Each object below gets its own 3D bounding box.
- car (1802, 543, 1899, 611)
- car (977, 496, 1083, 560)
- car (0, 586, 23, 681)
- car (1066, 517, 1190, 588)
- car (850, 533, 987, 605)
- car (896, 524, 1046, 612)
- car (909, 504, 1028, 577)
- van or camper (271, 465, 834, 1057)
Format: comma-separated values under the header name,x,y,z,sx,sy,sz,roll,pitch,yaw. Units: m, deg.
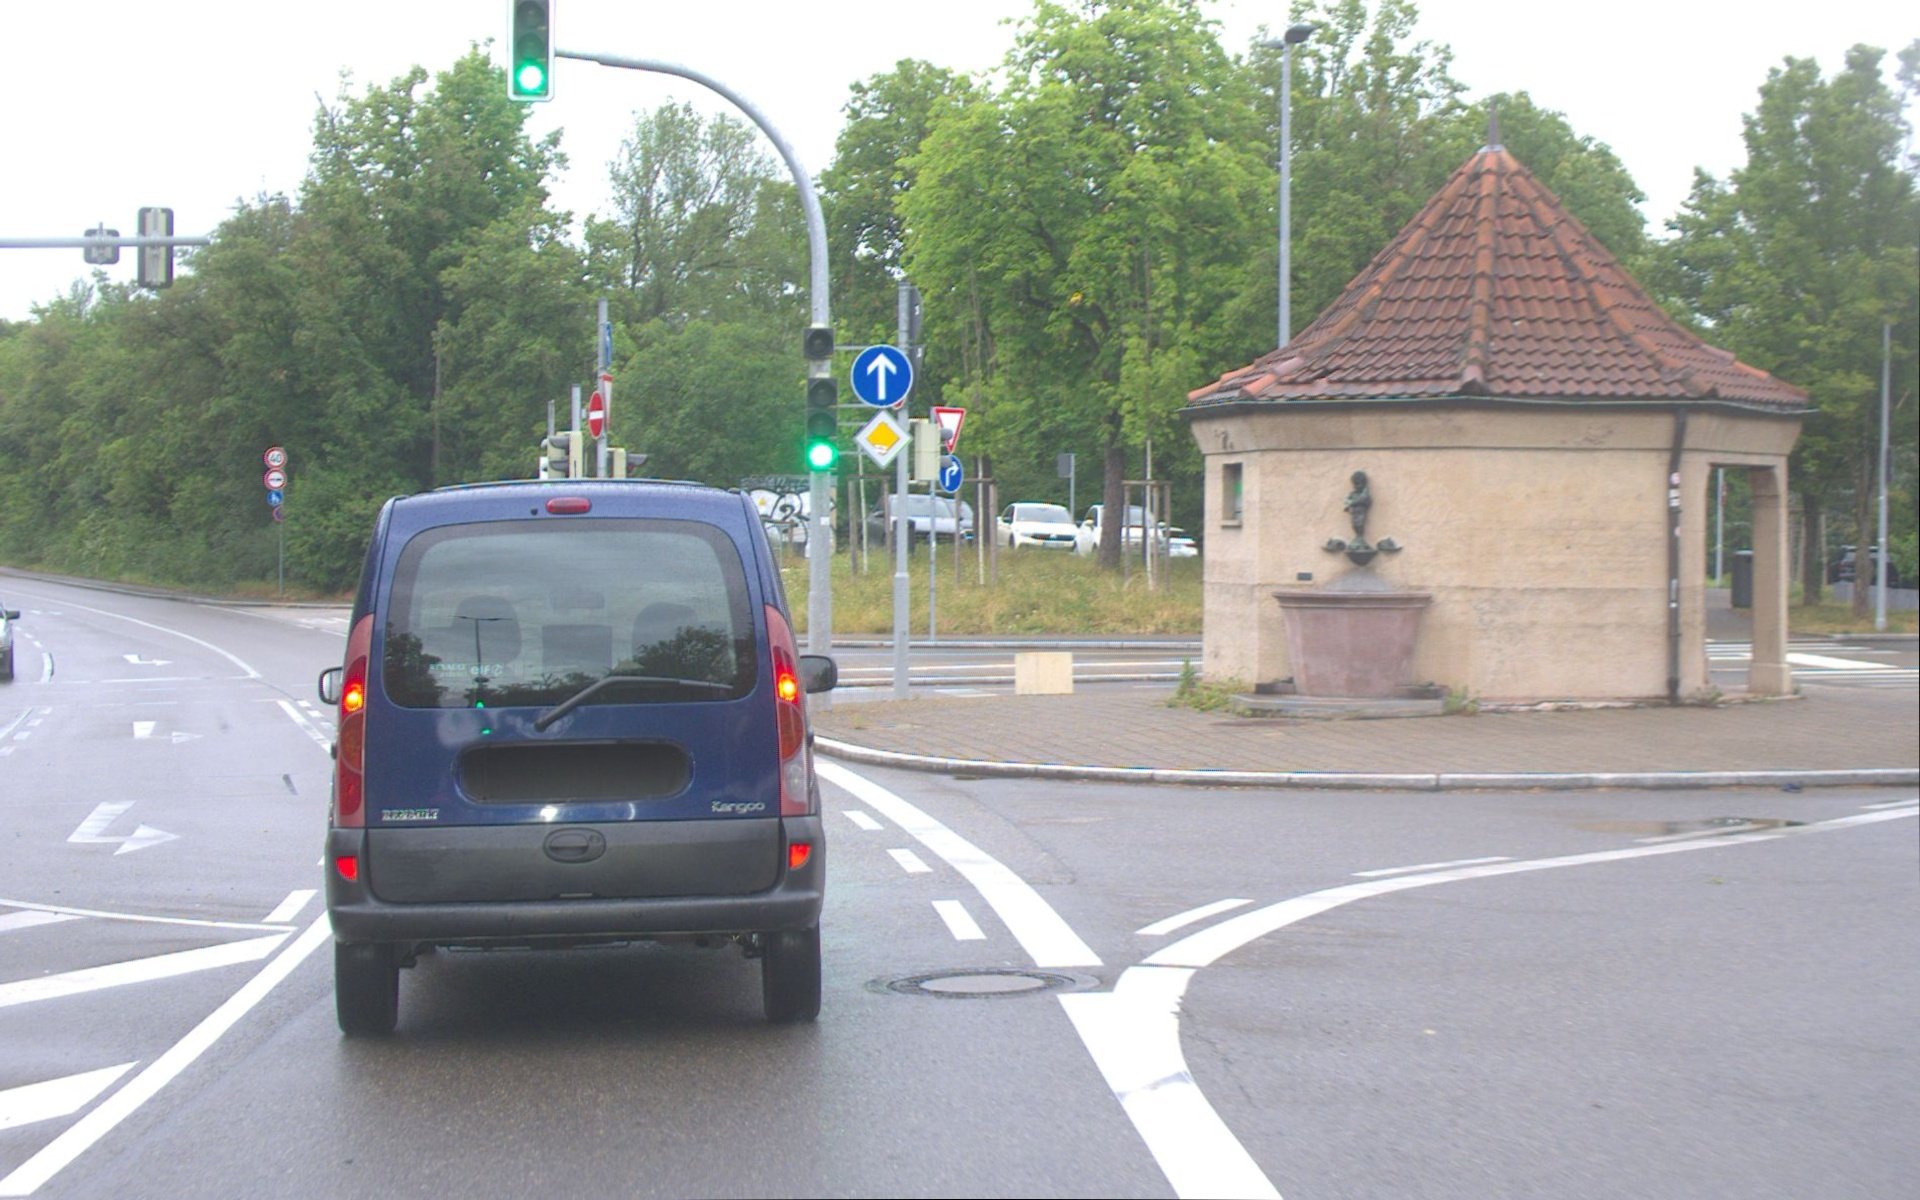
name,x,y,z,sx,sy,sz,roll,pitch,yaw
car,26.951,-0.702,104.118,1.993,2.007,4.000,1,0,2
car,1.764,-1.824,87.786,1.885,1.475,4.070,2,-1,-10
car,-15.020,0.496,51.604,1.740,1.347,4.211,-1,1,-16
car,3.738,-1.043,77.317,1.885,1.475,4.069,2,0,-10
car,-0.941,-0.661,75.864,1.993,1.475,4.286,2,0,-15
car,0.189,-0.668,70.170,1.993,1.656,4.001,3,1,-15
car,0.183,-1.464,84.350,1.993,1.656,4.474,3,1,-11
van or camper,-1.498,0.488,12.646,1.712,1.819,4.001,1,0,-7
